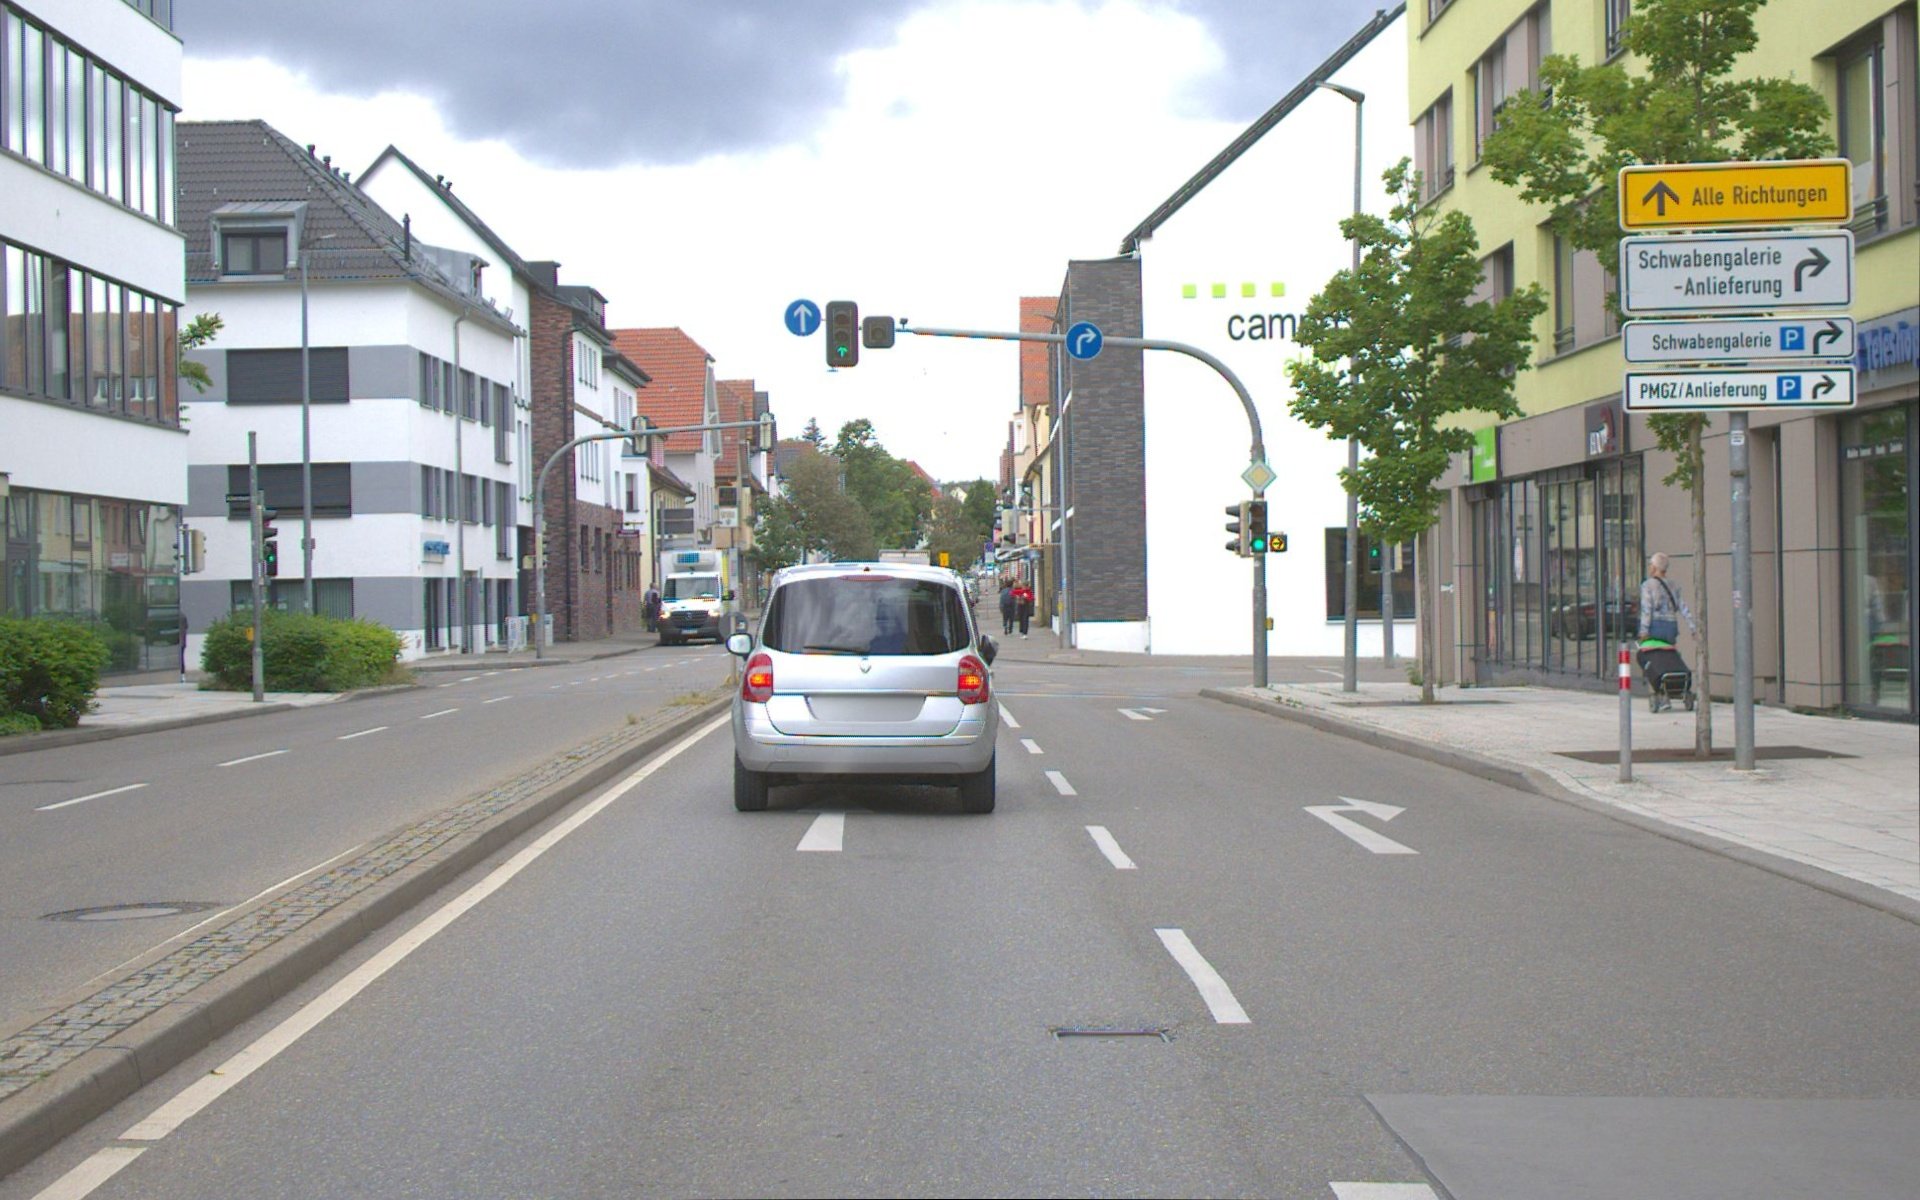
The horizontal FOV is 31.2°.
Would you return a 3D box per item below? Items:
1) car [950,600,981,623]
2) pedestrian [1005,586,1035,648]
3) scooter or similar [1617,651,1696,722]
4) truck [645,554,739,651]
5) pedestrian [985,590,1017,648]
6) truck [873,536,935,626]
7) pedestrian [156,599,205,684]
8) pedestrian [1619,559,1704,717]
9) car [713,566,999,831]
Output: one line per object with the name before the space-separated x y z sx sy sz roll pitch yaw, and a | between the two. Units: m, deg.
car | 0.338 0.703 209.993 1.812 1.349 4.000 -1 0 0
pedestrian | 1.779 0.506 101.970 0.807 1.781 0.861 -3 0 0
scooter or similar | 6.979 0.865 34.454 0.592 0.670 0.824 -2 0 -1
truck | -8.523 0.073 110.031 2.435 2.943 8.364 0 0 -1
pedestrian | 1.299 0.586 108.972 0.889 1.781 0.785 -3 0 0
truck | -2.418 -0.835 150.759 2.595 3.844 6.848 0 0 0
pedestrian | -15.677 0.828 69.166 0.881 1.664 0.814 -1 3 -9
pedestrian | 7.171 0.386 35.174 0.695 1.588 0.603 -2 0 -1
car | -0.661 0.596 22.939 1.706 1.573 4.000 1 0 -1
